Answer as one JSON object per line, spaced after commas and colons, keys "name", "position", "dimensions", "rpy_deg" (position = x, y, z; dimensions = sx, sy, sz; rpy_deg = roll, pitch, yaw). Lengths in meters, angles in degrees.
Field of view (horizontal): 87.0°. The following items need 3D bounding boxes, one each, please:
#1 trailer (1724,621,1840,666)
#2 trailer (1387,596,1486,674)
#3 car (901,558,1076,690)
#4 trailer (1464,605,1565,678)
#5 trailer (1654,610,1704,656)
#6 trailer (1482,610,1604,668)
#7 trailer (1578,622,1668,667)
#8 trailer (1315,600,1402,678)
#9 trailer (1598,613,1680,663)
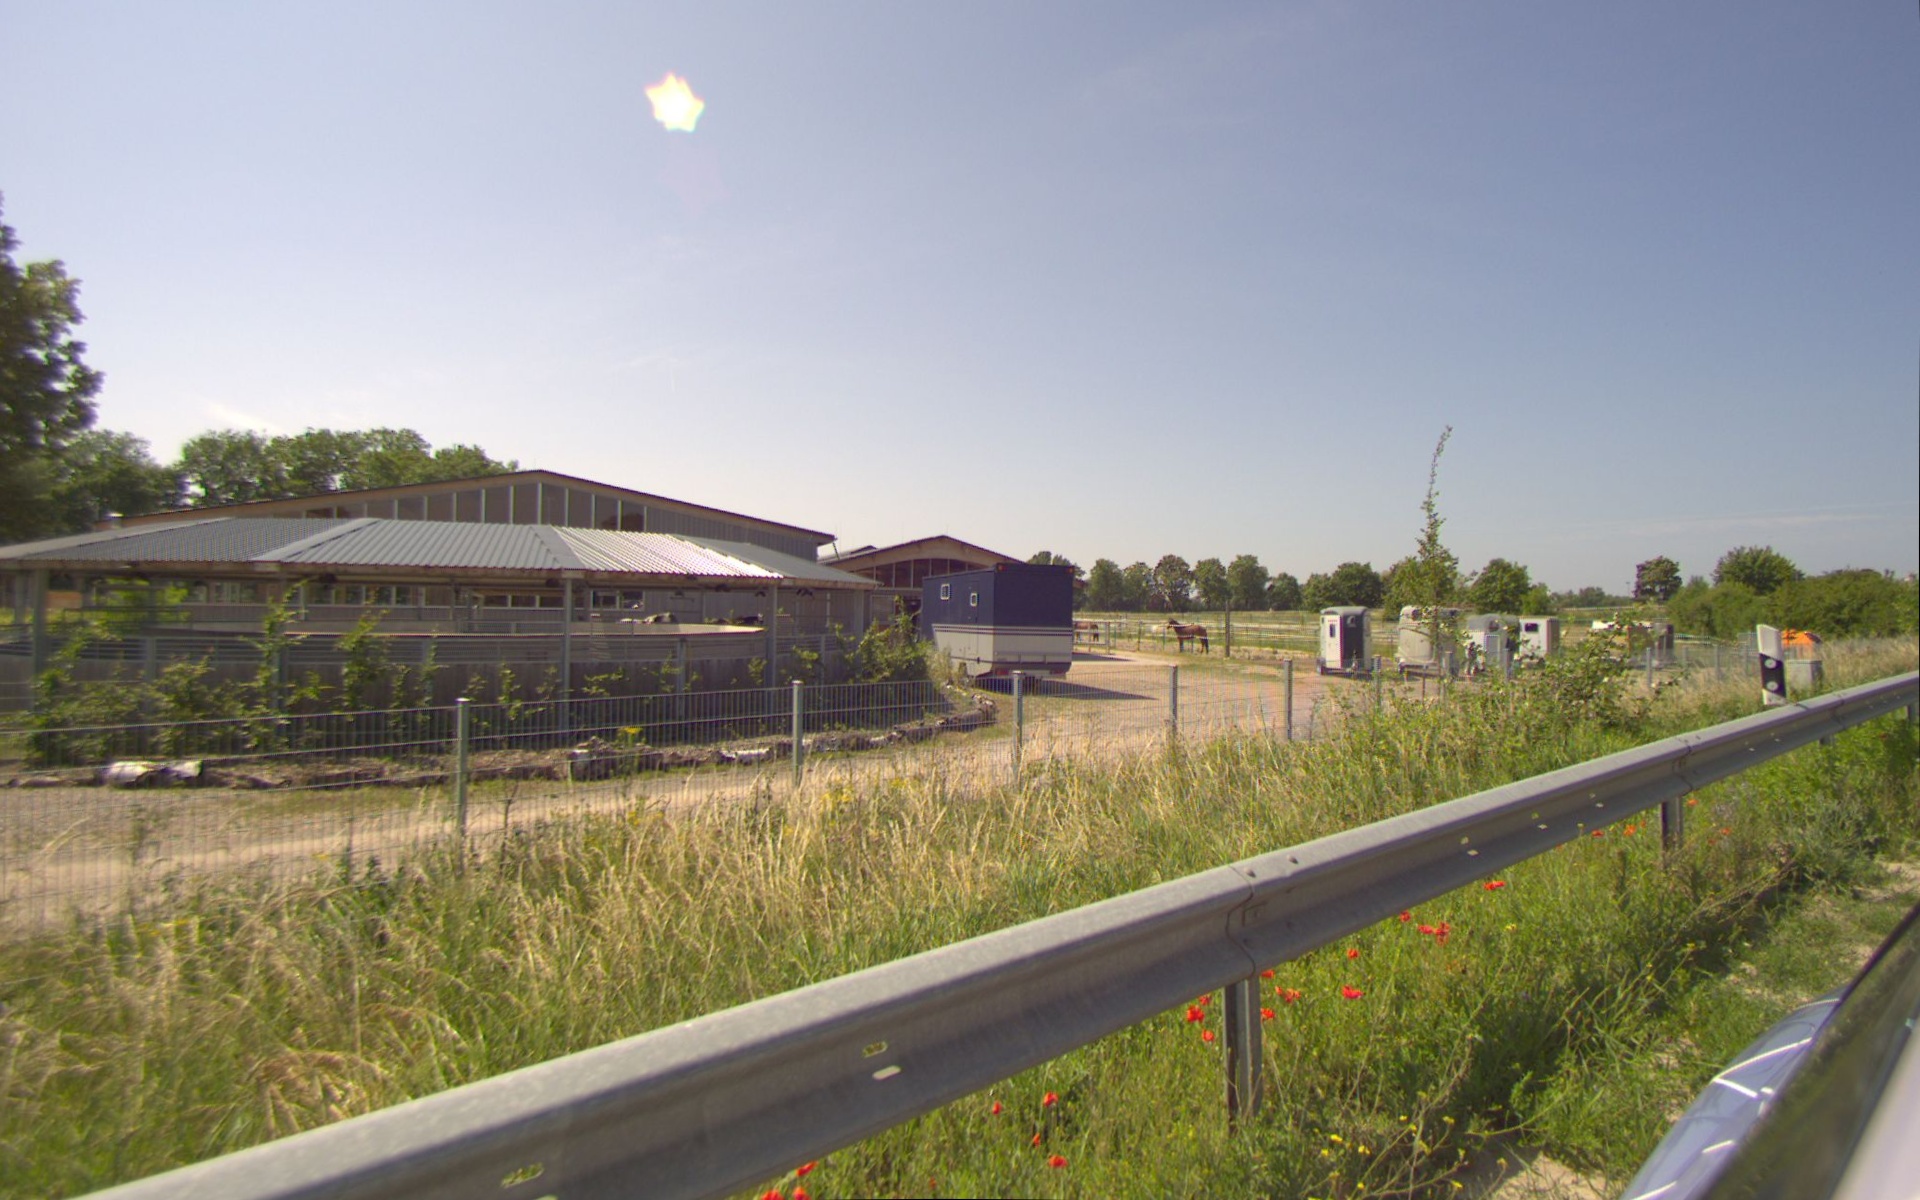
{"name": "trailer", "position": [48.631, 2.530, 59.887], "dimensions": [5.924, 2.410, 2.586], "rpy_deg": [-1, 0, -20]}
{"name": "trailer", "position": [19.133, 1.342, 40.915], "dimensions": [2.197, 2.901, 5.031], "rpy_deg": [1, 0, 9]}
{"name": "car", "position": [0.621, 0.723, 33.167], "dimensions": [2.721, 3.699, 9.014], "rpy_deg": [1, -1, -19]}
{"name": "trailer", "position": [22.452, 1.616, 41.181], "dimensions": [1.794, 2.662, 4.546], "rpy_deg": [4, 0, 5]}
{"name": "trailer", "position": [45.343, 2.130, 63.894], "dimensions": [1.980, 2.842, 3.345], "rpy_deg": [-2, -4, 26]}
{"name": "trailer", "position": [28.890, 1.892, 50.386], "dimensions": [2.162, 2.722, 5.198], "rpy_deg": [1, -1, -16]}
{"name": "trailer", "position": [37.584, 2.530, 57.510], "dimensions": [1.965, 2.422, 4.098], "rpy_deg": [0, -2, -9]}
{"name": "trailer", "position": [15.382, 1.438, 39.318], "dimensions": [2.139, 2.703, 4.470], "rpy_deg": [1, 1, 9]}
{"name": "trailer", "position": [40.259, 2.217, 60.043], "dimensions": [2.119, 2.841, 3.427], "rpy_deg": [0, 0, -18]}
